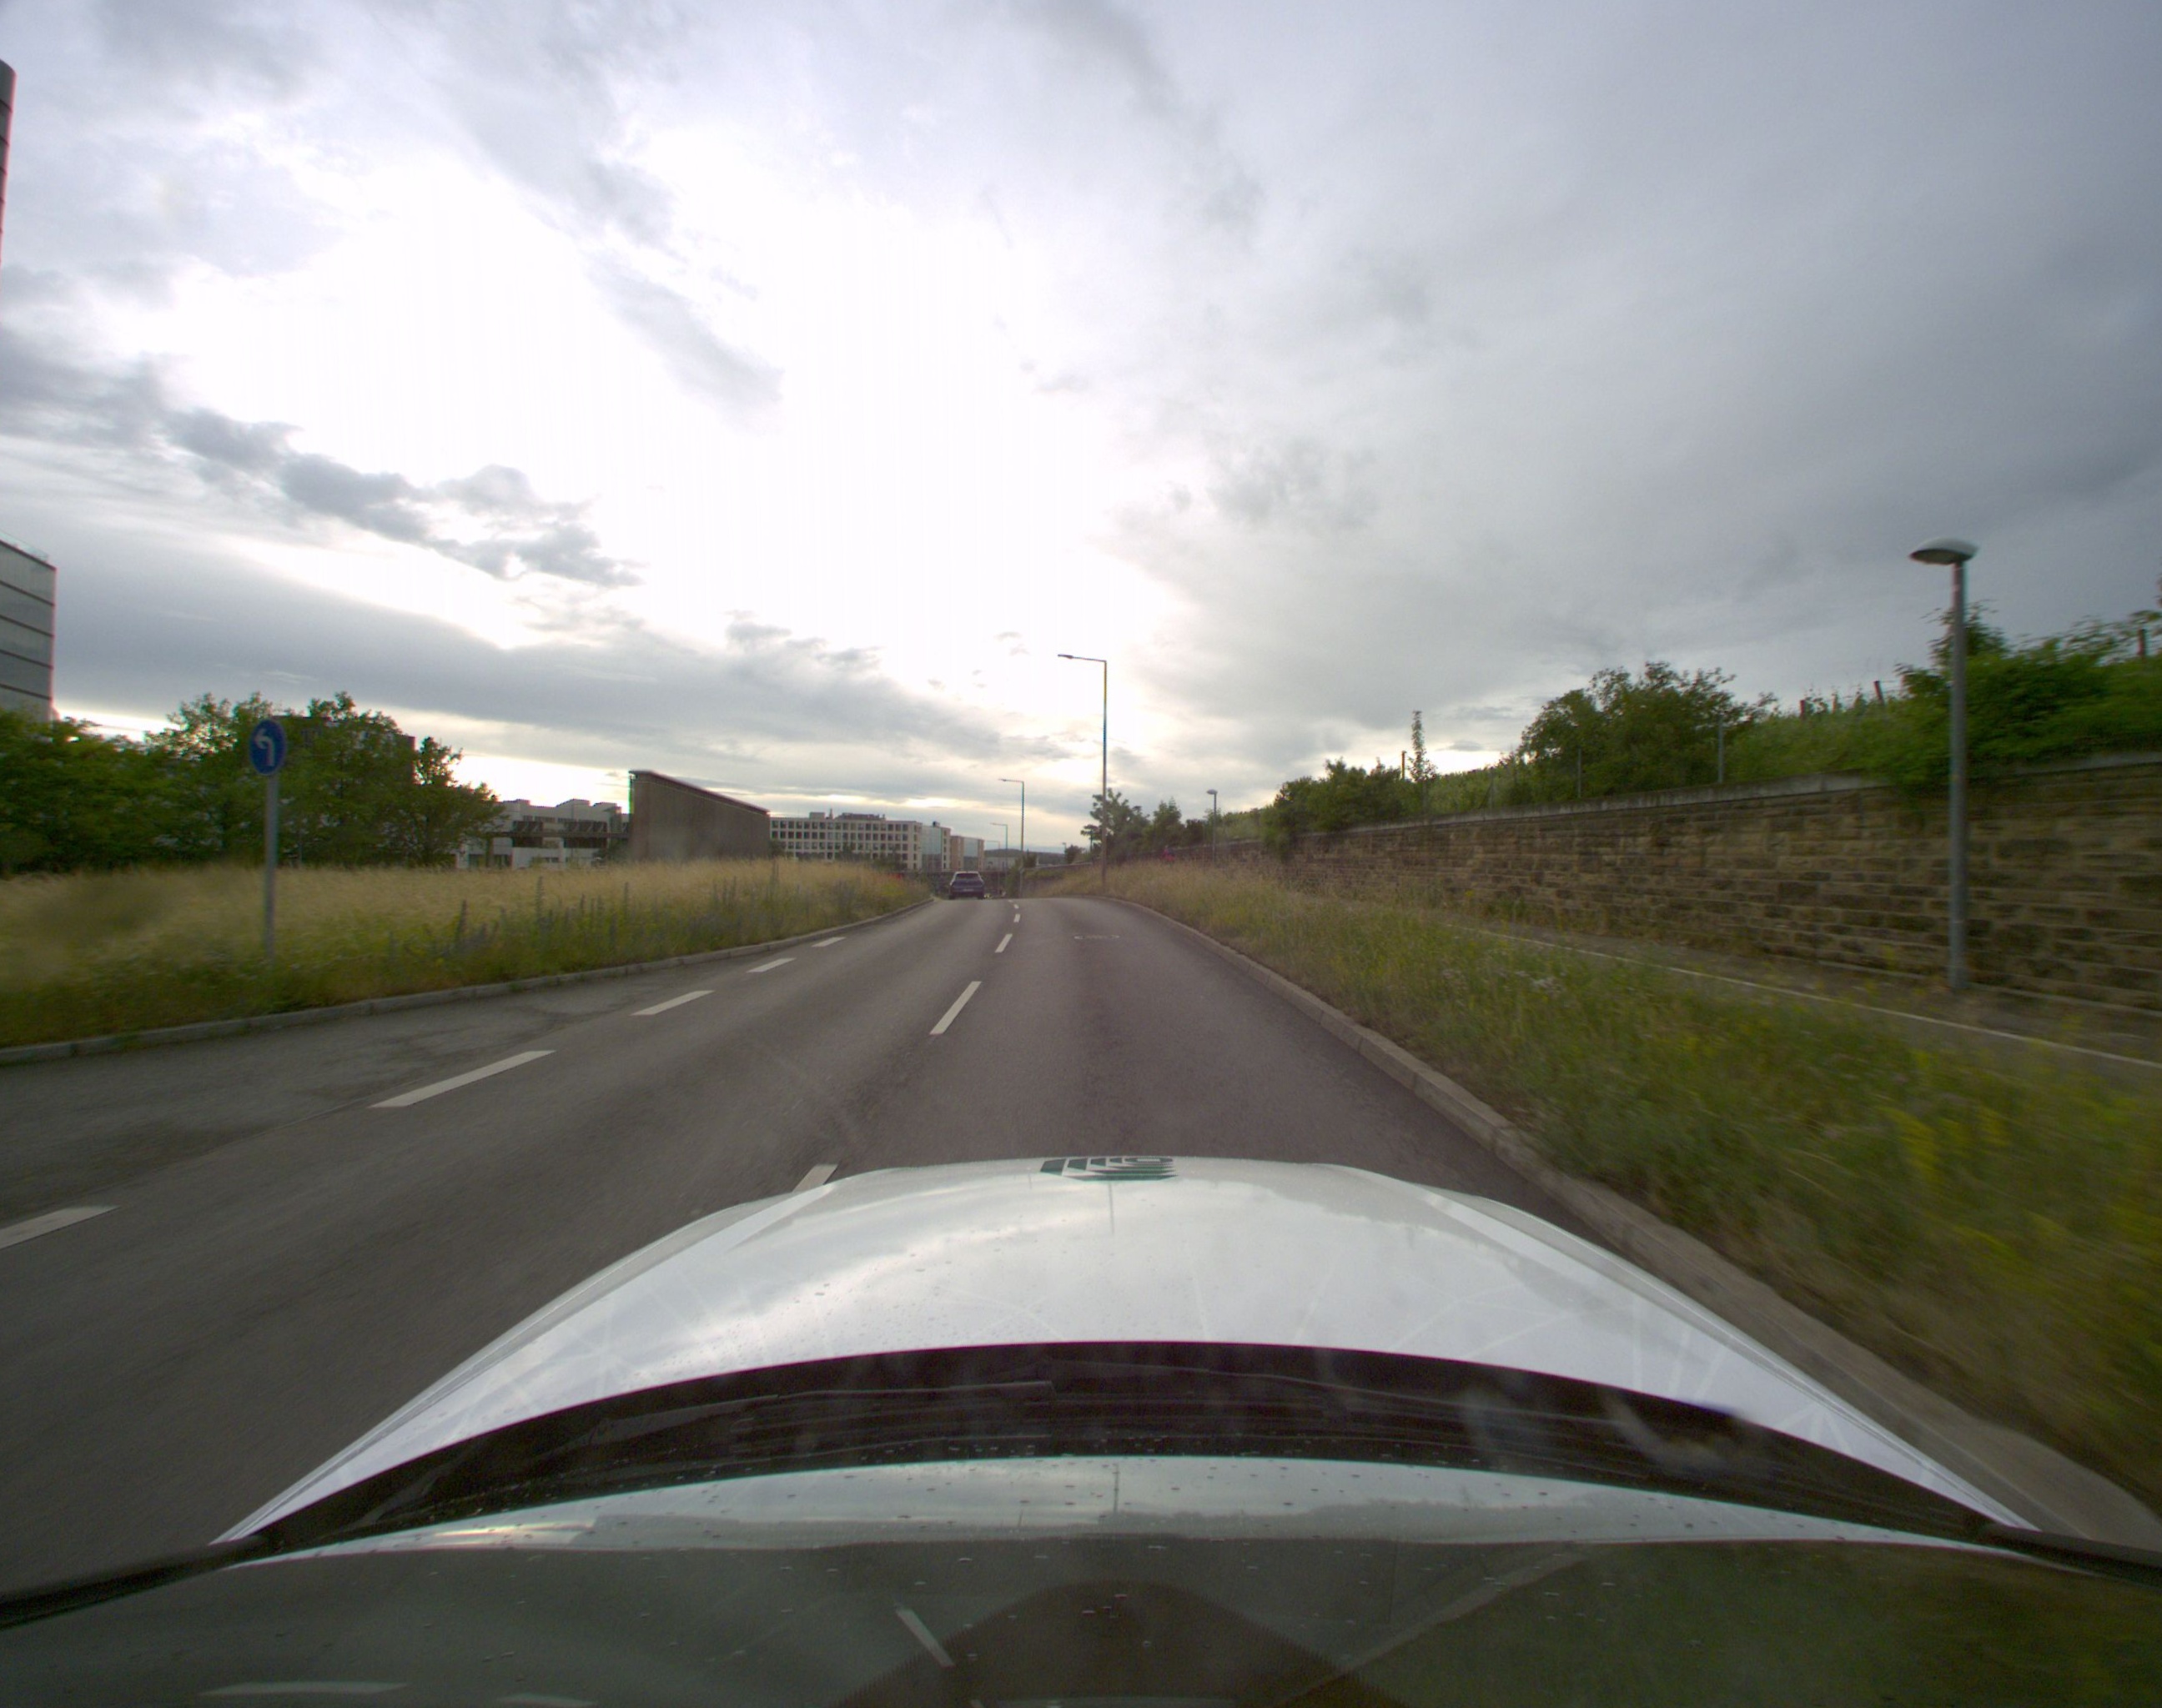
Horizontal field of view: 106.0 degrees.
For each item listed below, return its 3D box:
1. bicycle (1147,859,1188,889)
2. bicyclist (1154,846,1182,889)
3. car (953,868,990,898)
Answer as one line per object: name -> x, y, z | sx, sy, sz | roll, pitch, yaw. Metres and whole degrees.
bicycle -> 3.970, 0.940, 37.719 | 0.869, 1.288, 3.473 | 3, -2, -11
bicyclist -> 4.006, 0.619, 37.640 | 0.869, 1.909, 1.289 | 3, -2, -11
car -> -5.649, 1.481, 42.092 | 1.747, 1.420, 3.469 | 2, -1, -7
